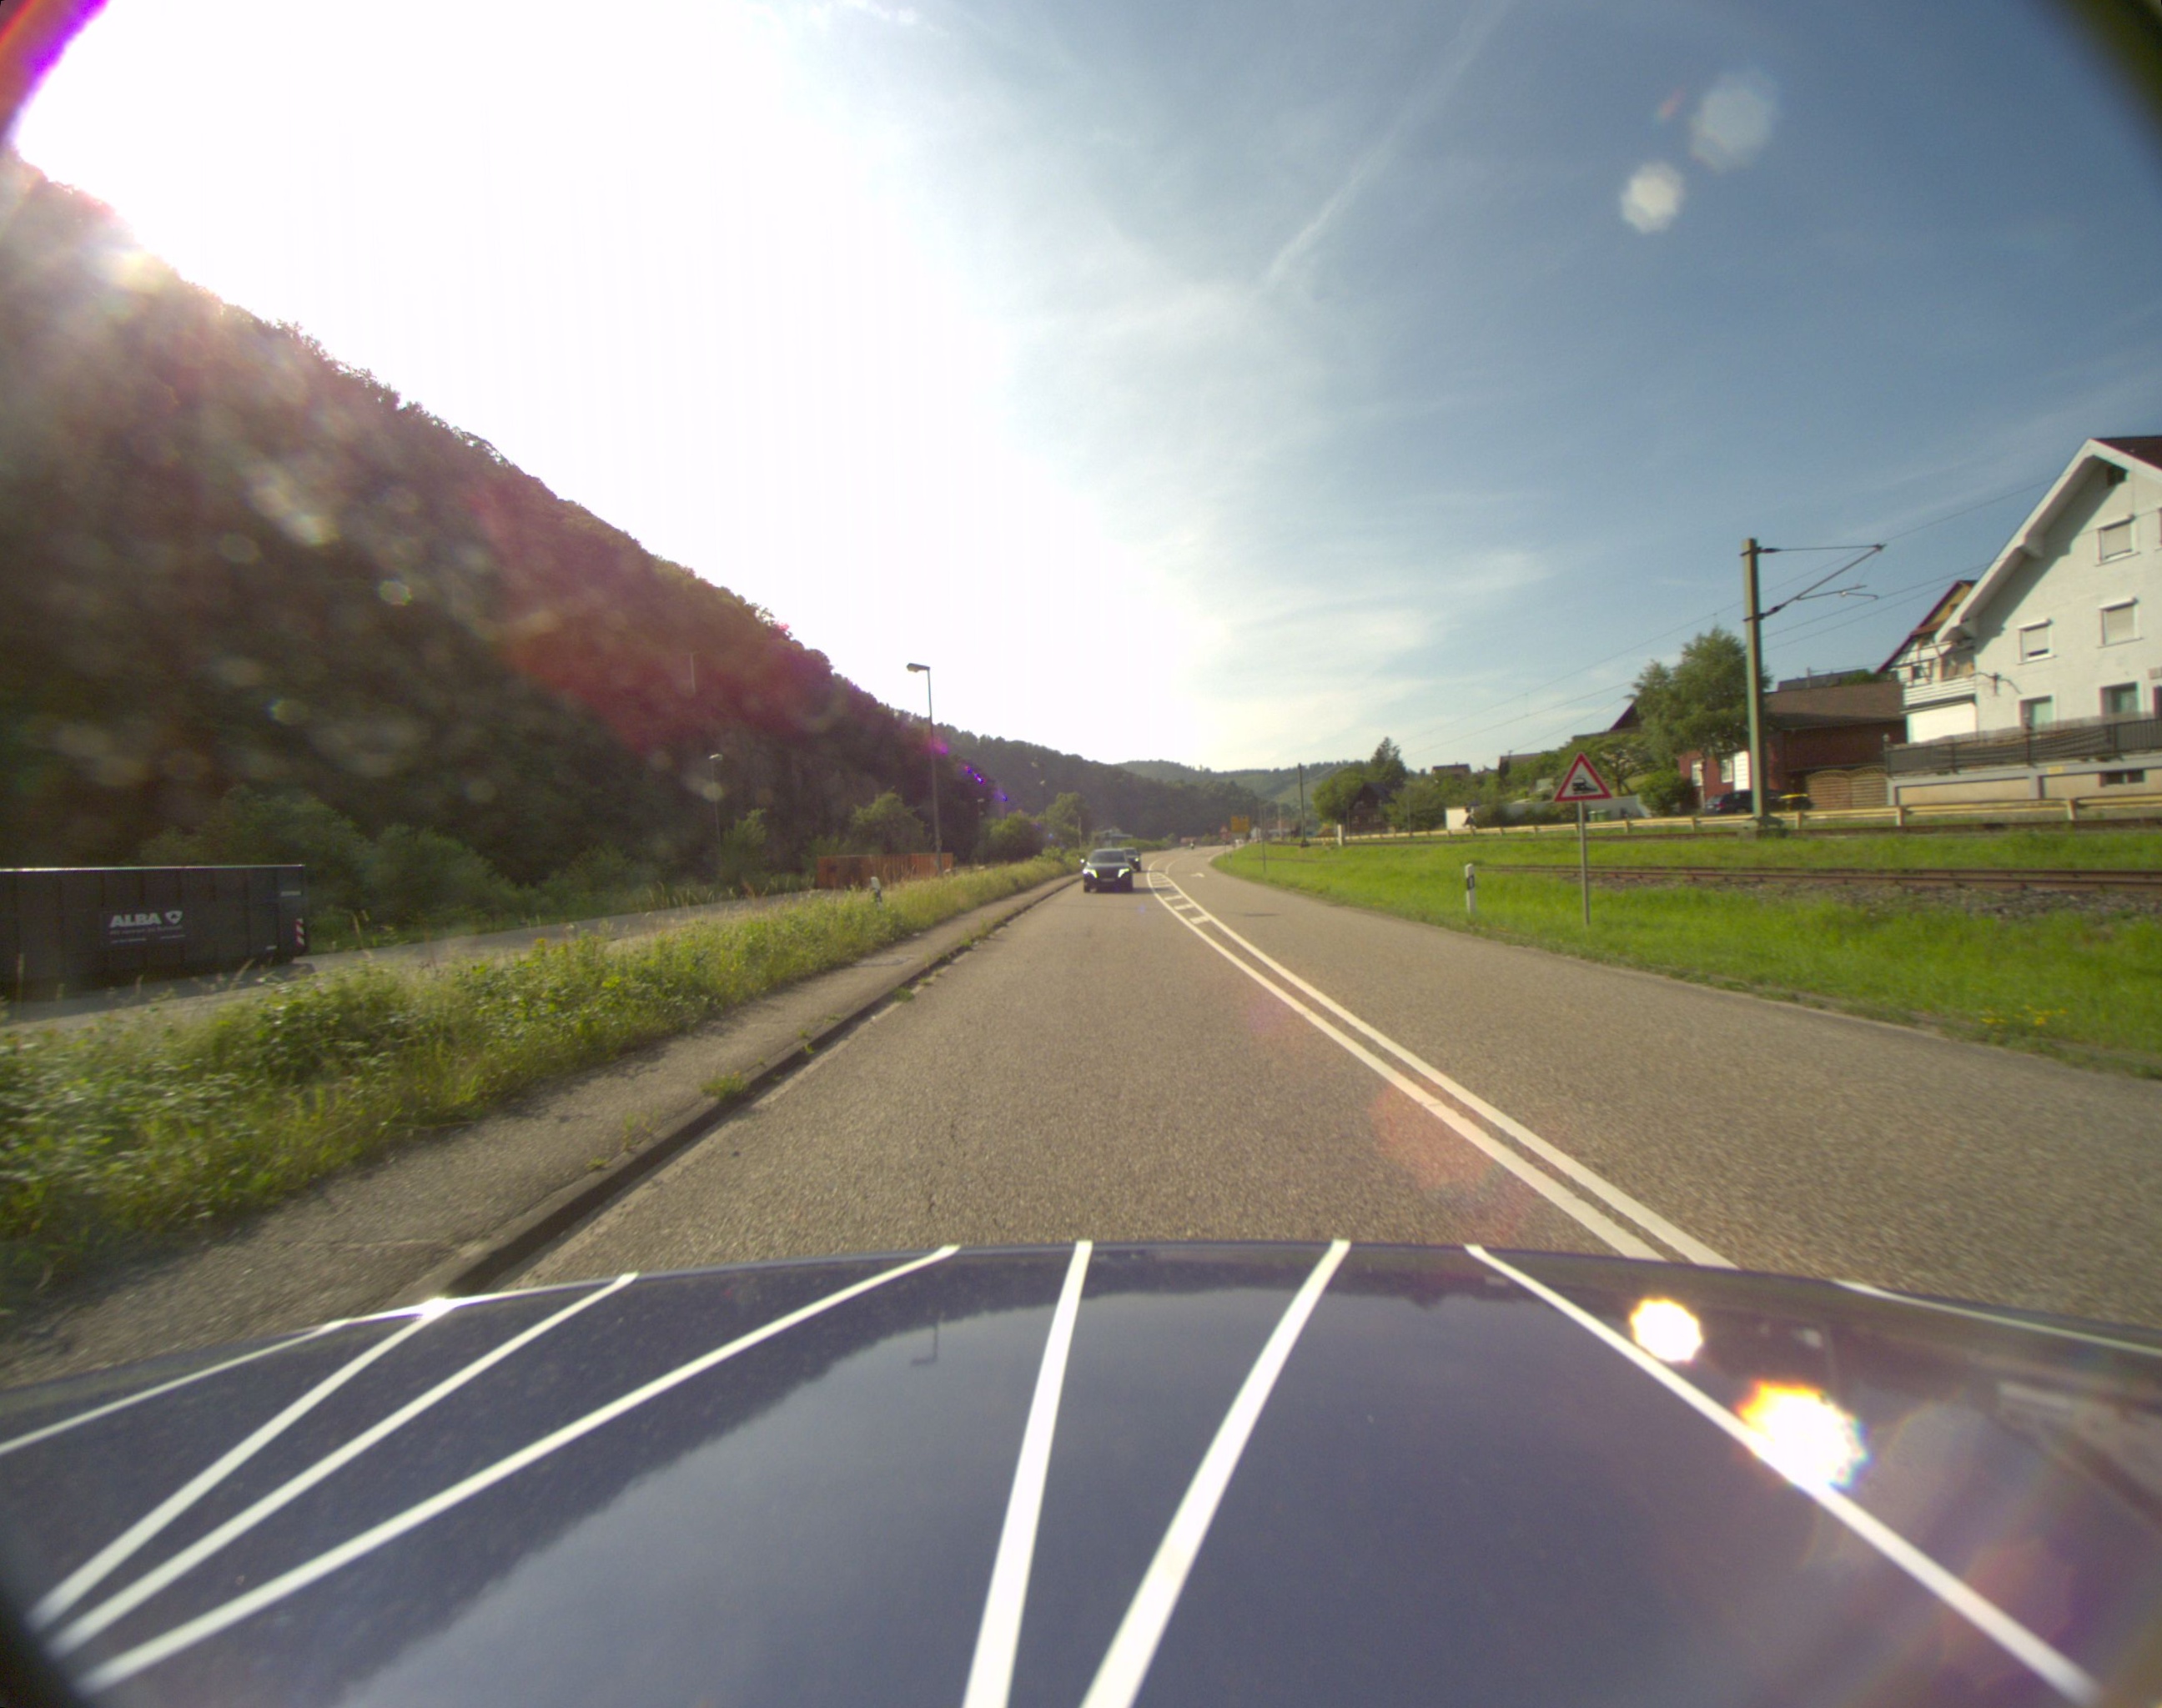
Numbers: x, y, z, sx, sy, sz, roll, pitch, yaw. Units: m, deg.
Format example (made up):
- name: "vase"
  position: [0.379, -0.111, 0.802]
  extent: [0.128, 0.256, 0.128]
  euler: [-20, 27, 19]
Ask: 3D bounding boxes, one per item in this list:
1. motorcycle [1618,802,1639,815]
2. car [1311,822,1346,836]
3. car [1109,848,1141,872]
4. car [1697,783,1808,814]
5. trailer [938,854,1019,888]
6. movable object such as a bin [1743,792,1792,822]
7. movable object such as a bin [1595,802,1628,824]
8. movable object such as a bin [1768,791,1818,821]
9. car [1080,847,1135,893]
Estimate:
- name: "motorcycle"
  position: [47.804, -3.941, 66.345]
  extent: [0.664, 0.987, 1.744]
  euler: [-4, 1, 8]
- name: "car"
  position: [54.840, -5.557, 168.341]
  extent: [7.071, 2.442, 2.953]
  euler: [-4, 0, 26]
- name: "car"
  position: [3.056, 0.393, 51.856]
  extent: [1.918, 1.455, 4.001]
  euler: [-4, 0, 5]
- name: "car"
  position: [36.122, -2.947, 40.987]
  extent: [4.100, 1.263, 1.738]
  euler: [-4, 1, 16]
- name: "trailer"
  position: [-6.094, 0.946, 47.083]
  extent: [2.798, 1.466, 9.889]
  euler: [-5, 0, 5]
- name: "movable object such as a bin"
  position: [30.462, -2.074, 33.742]
  extent: [1.092, 1.185, 1.143]
  euler: [-4, 1, 3]
- name: "movable object such as a bin"
  position: [31.543, -2.422, 45.201]
  extent: [1.142, 1.185, 1.093]
  euler: [-4, 1, -2]
- name: "movable object such as a bin"
  position: [31.635, -2.112, 33.769]
  extent: [1.092, 1.185, 1.143]
  euler: [-4, 1, 3]
- name: "car"
  position: [1.130, 0.569, 30.480]
  extent: [1.998, 1.661, 5.511]
  euler: [0, 0, 3]
